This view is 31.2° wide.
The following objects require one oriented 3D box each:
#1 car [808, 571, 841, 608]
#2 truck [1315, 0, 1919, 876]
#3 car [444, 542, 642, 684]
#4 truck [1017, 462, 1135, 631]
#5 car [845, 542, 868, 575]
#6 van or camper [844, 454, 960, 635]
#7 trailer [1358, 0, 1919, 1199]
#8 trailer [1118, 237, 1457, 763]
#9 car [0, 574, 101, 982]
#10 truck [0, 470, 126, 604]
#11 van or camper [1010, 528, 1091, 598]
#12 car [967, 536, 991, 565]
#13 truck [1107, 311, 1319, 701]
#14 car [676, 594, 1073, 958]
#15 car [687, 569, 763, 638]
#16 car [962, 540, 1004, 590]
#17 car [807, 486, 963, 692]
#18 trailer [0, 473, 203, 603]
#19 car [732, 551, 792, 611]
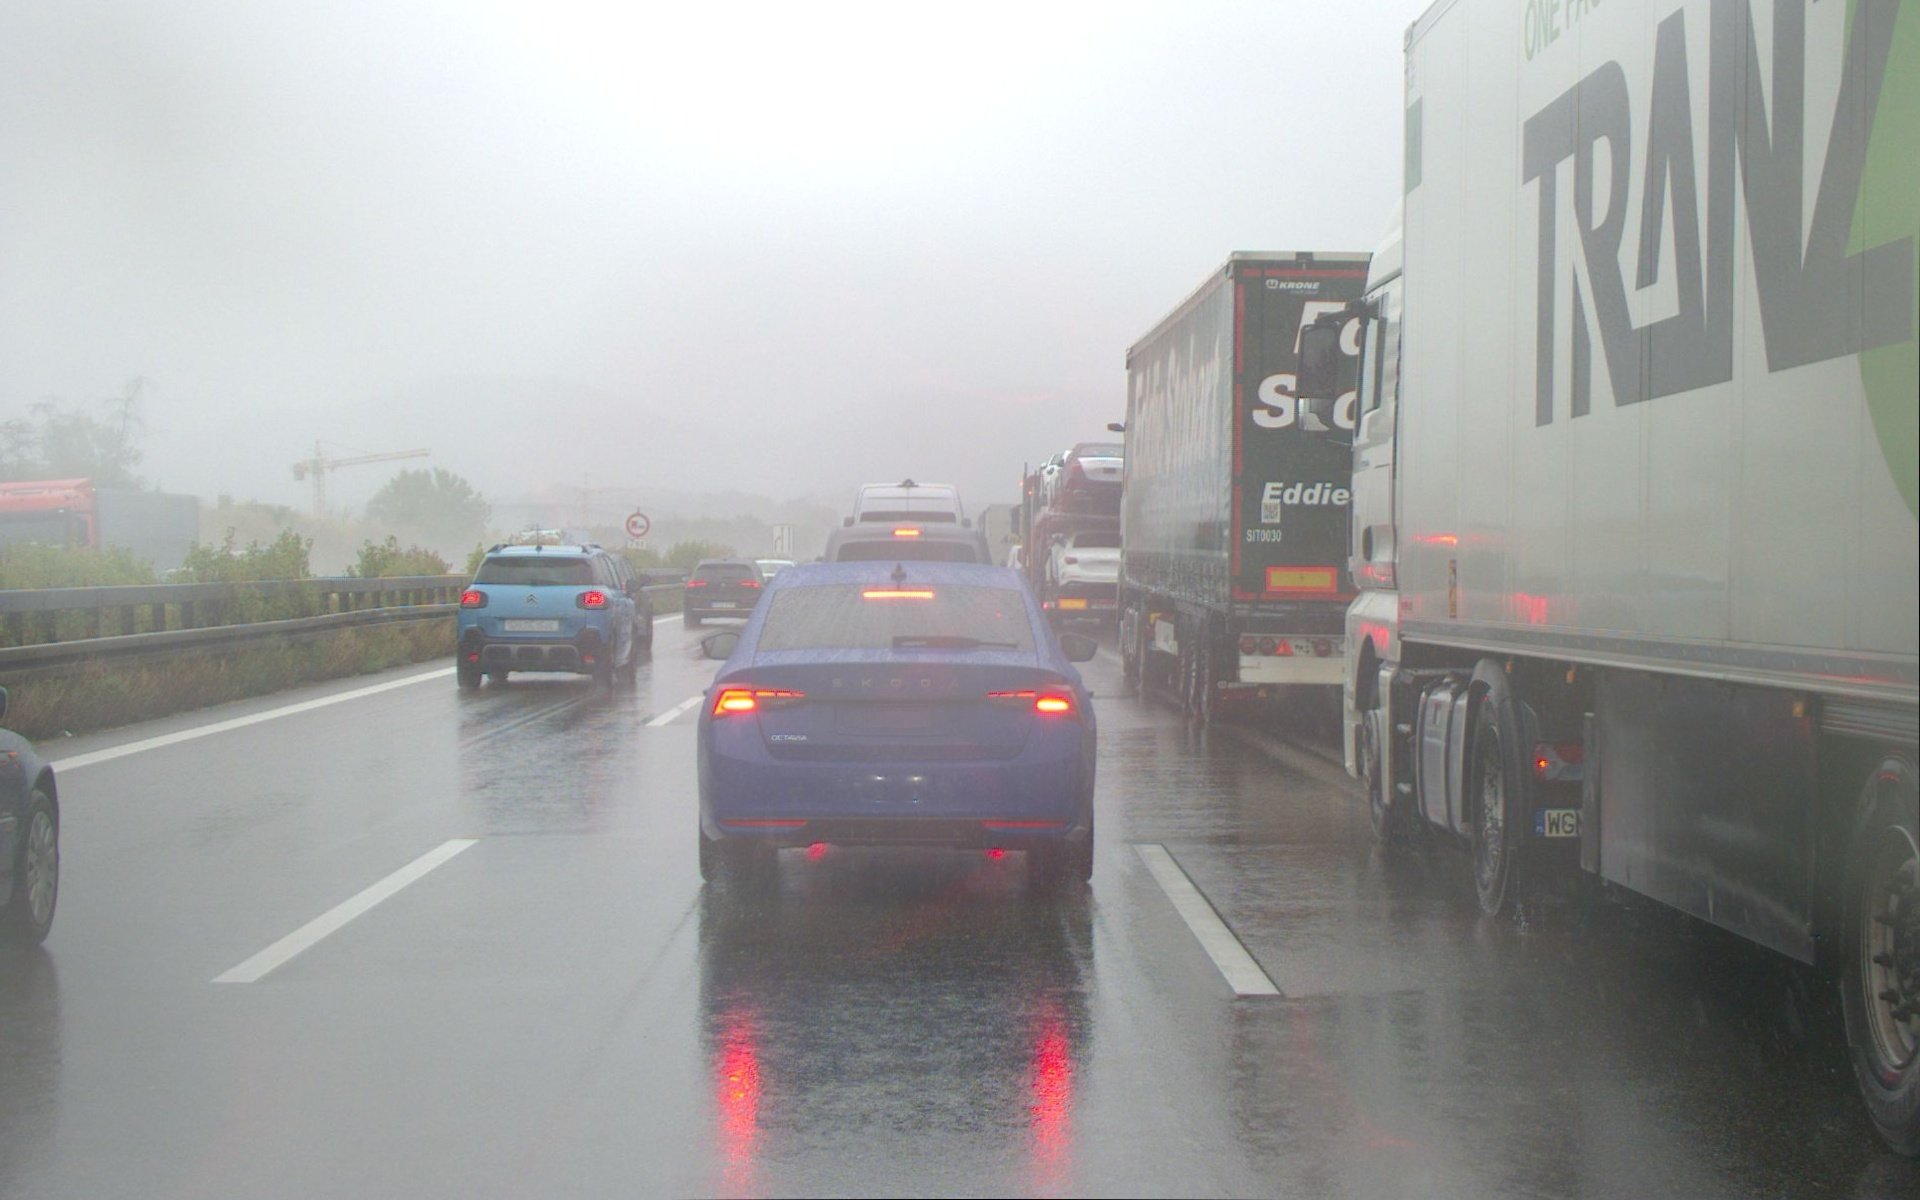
[{"bbox_3d":[-6.570,-0.526,167.073,1.448,1.777,3.409,1,1,0],"label":"car"},{"bbox_3d":[3.317,-0.812,16.666,2.630,3.814,4.791,0,1,0],"label":"truck"},{"bbox_3d":[-4.669,0.110,38.962,1.722,1.518,4.000,0,1,1],"label":"car"},{"bbox_3d":[2.403,-1.195,73.354,1.993,3.410,8.033,0,2,-2],"label":"truck"},{"bbox_3d":[-5.681,-2.257,188.163,1.192,1.744,3.076,0,2,-1],"label":"car"},{"bbox_3d":[-0.918,-0.913,55.716,1.797,2.797,4.768,0,1,0],"label":"van or camper"},{"bbox_3d":[3.381,-0.734,9.924,2.630,3.999,14.630,0,1,0],"label":"trailer"},{"bbox_3d":[2.855,-0.912,32.992,2.047,4.162,11.449,0,1,0],"label":"trailer"},{"bbox_3d":[-4.178,0.630,11.100,1.718,1.395,4.230,0,1,1],"label":"car"},{"bbox_3d":[-22.255,-1.530,83.906,2.686,3.141,4.605,1,1,0],"label":"truck"},{"bbox_3d":[2.157,-0.920,82.968,1.771,1.619,4.484,0,2,-1],"label":"van or camper"},{"bbox_3d":[1.205,-3.119,216.954,1.448,1.777,3.409,1,1,0],"label":"car"},{"bbox_3d":[2.803,-1.049,38.930,2.047,4.178,4.000,0,1,0],"label":"truck"},{"bbox_3d":[-0.345,0.724,16.219,1.635,1.440,4.000,0,1,0],"label":"car"},{"bbox_3d":[-5.062,0.067,74.347,1.439,1.415,3.322,0,1,0],"label":"car"},{"bbox_3d":[0.826,-1.286,125.487,1.448,1.777,3.409,1,1,0],"label":"car"},{"bbox_3d":[-0.660,-0.129,31.281,1.336,1.773,3.322,0,1,0],"label":"car"},{"bbox_3d":[-22.288,-1.587,89.662,2.686,3.141,11.085,1,1,0],"label":"trailer"},{"bbox_3d":[-5.255,-0.515,91.601,1.439,1.528,3.322,0,1,0],"label":"car"}]
